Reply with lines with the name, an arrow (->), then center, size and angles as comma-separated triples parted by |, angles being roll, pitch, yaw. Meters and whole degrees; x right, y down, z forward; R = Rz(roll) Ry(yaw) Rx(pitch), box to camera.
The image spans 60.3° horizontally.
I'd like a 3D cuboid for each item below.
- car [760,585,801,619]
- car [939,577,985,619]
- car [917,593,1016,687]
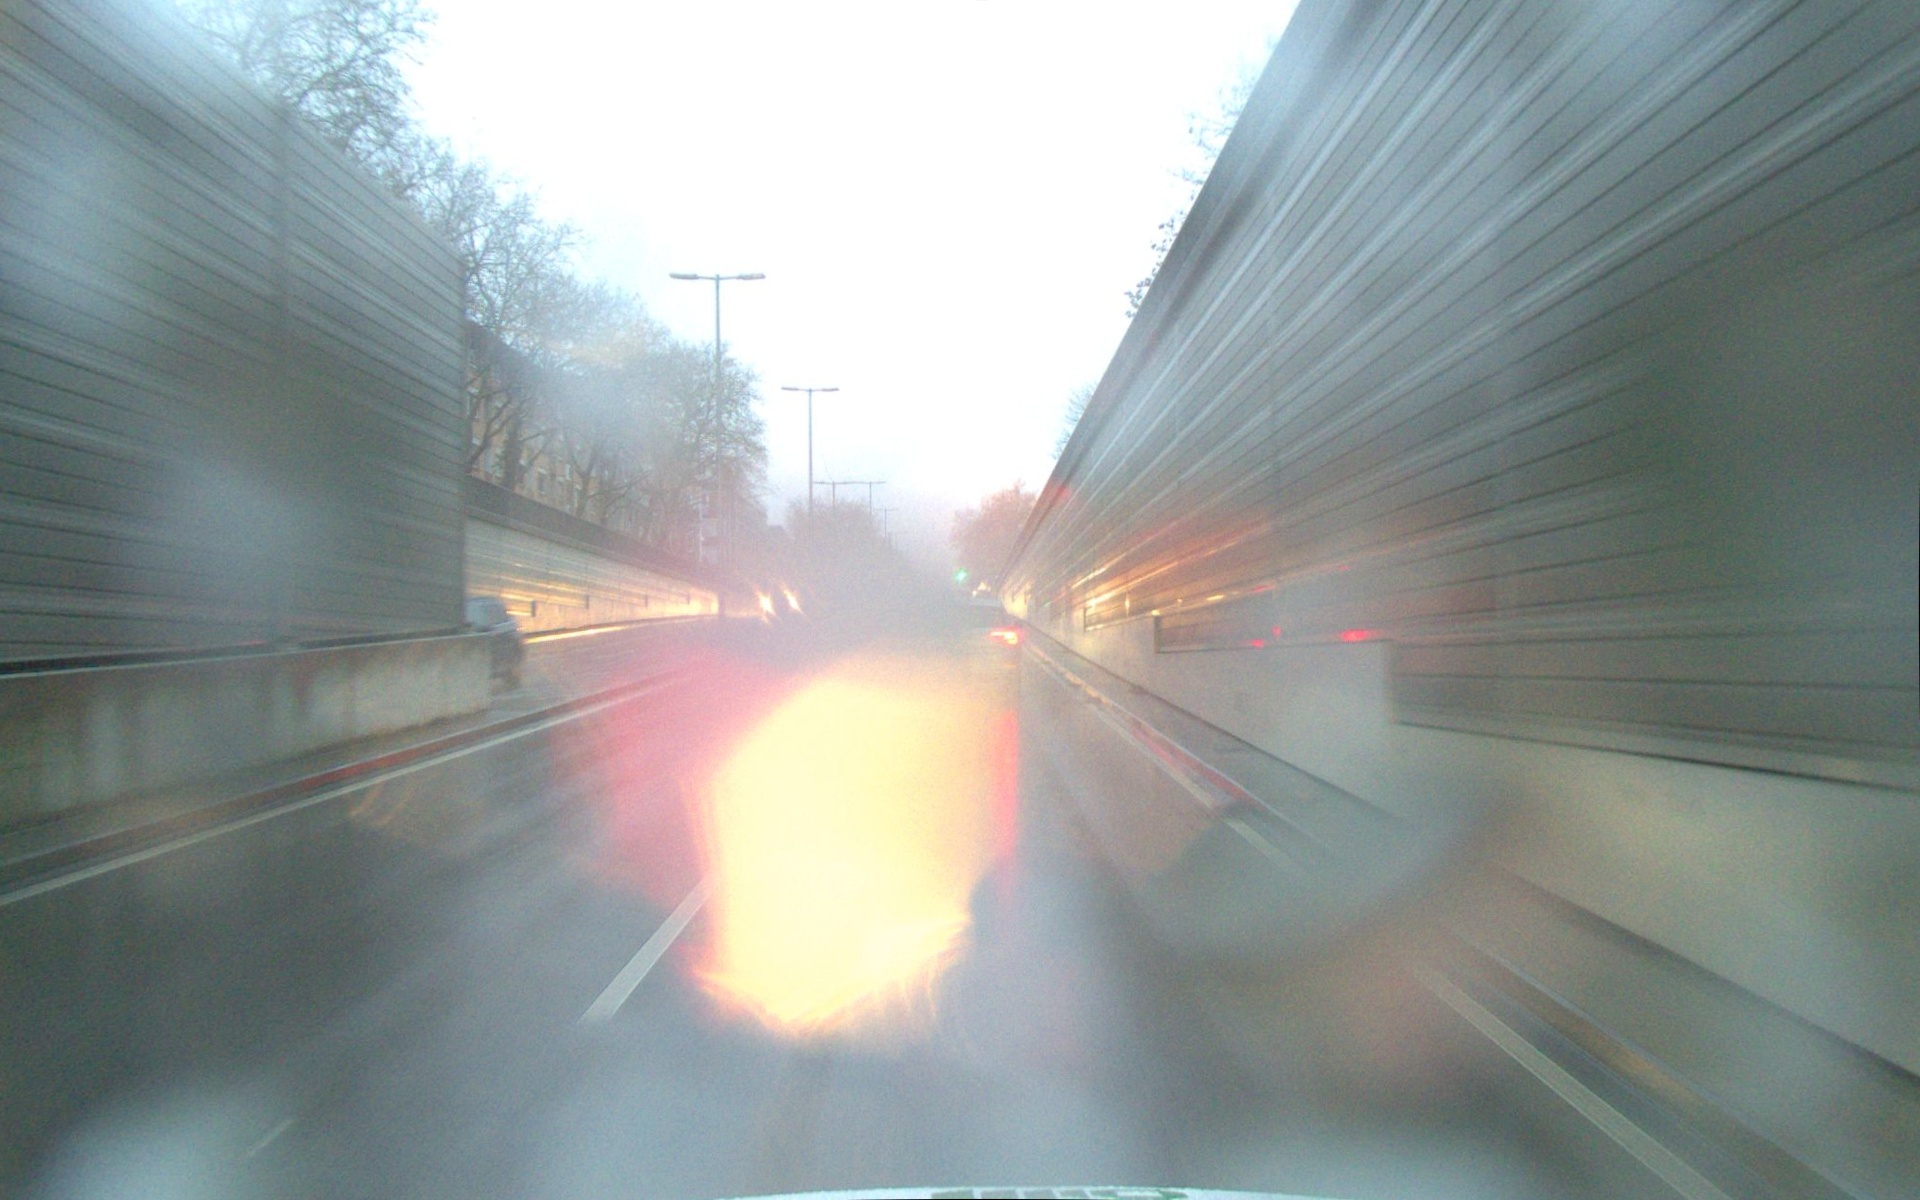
car -> -8.460, 0.083, 78.248 | 1.539, 1.496, 3.686 | -2, 1, -1
car -> 0.046, -0.053, 72.251 | 1.842, 1.649, 3.997 | 1, -2, -2
car -> 0.089, 0.646, 26.874 | 1.500, 1.422, 3.433 | 0, -1, 0
